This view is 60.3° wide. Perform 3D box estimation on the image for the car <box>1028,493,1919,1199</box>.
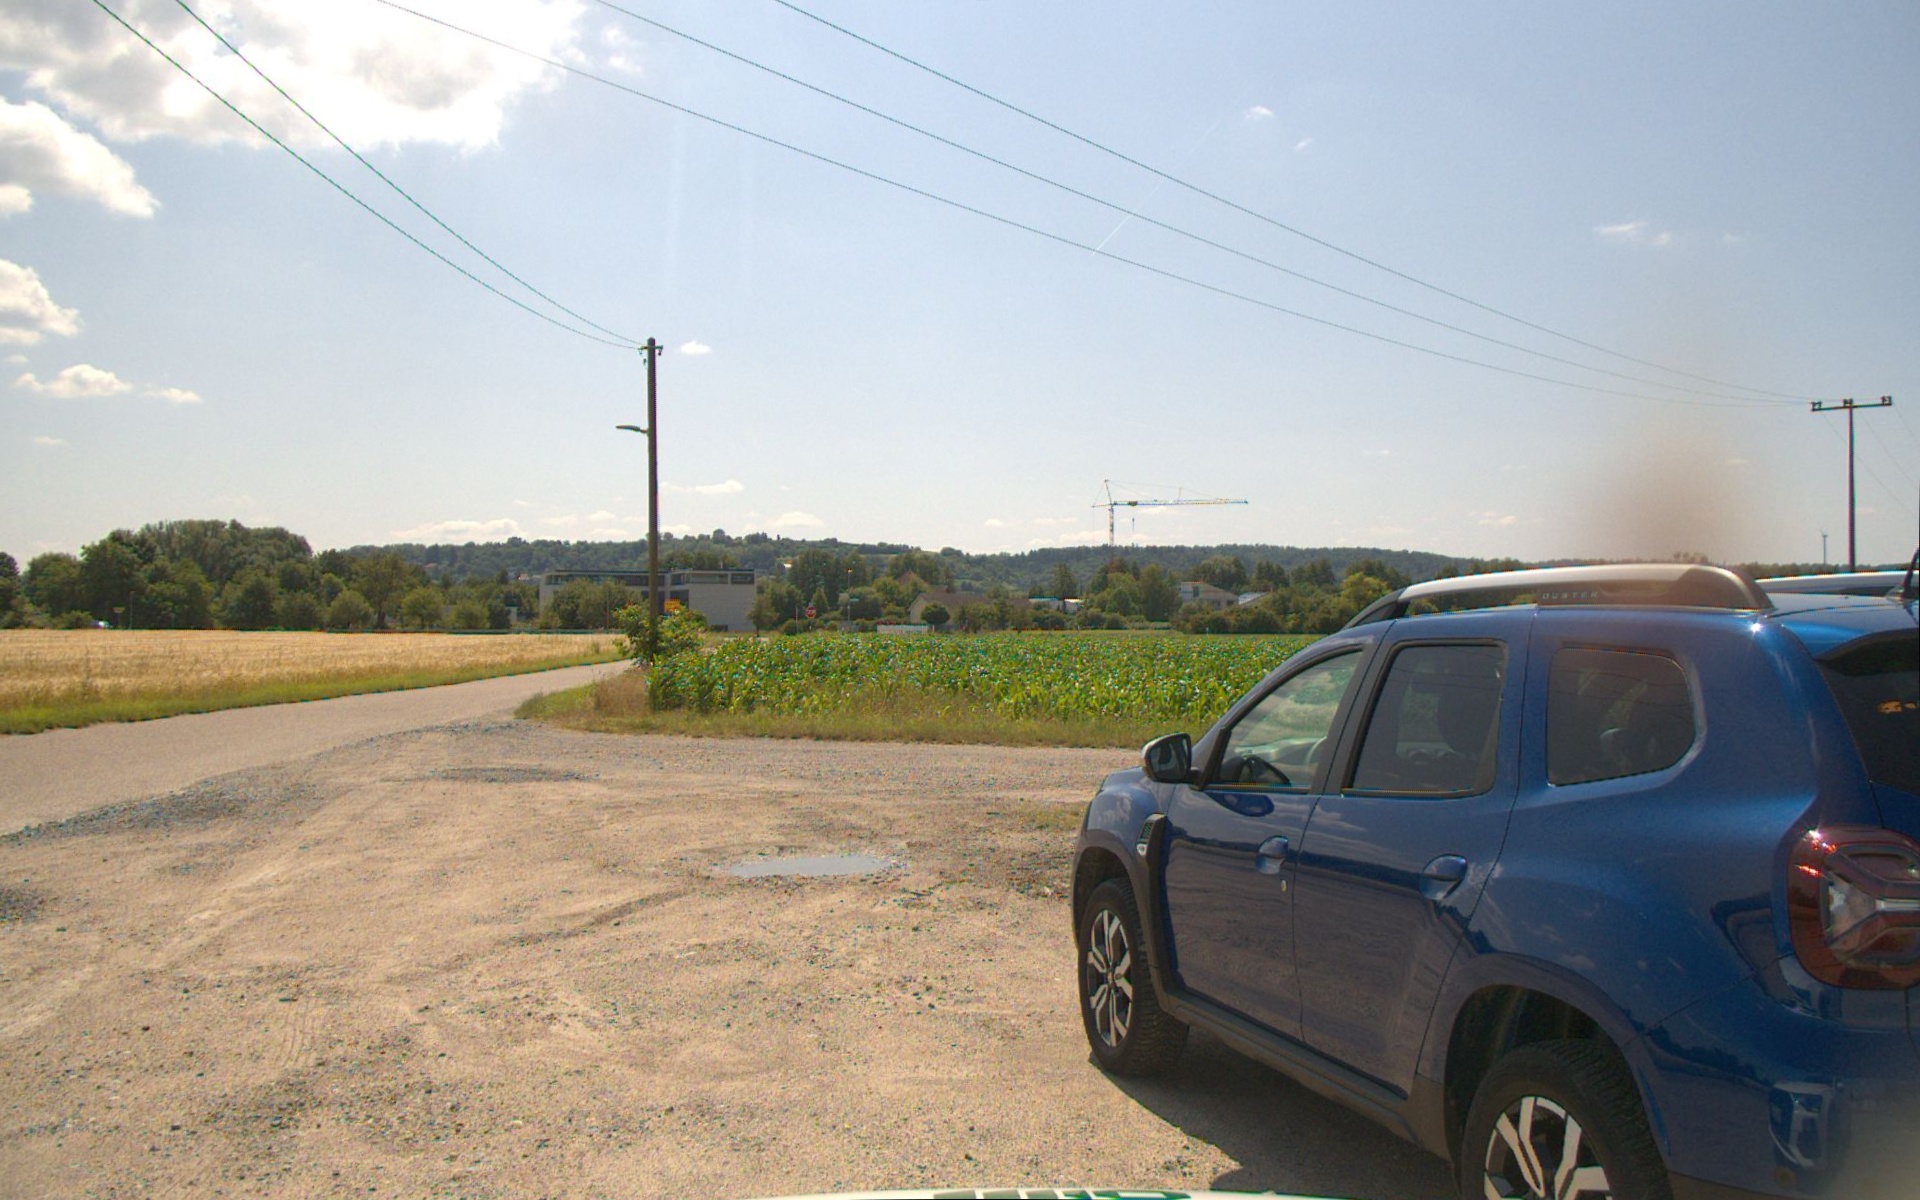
[{"bbox_3d":[1.733,0.762,4.889,1.828,1.690,4.440,1,-2,-15],"label":"car"}]
